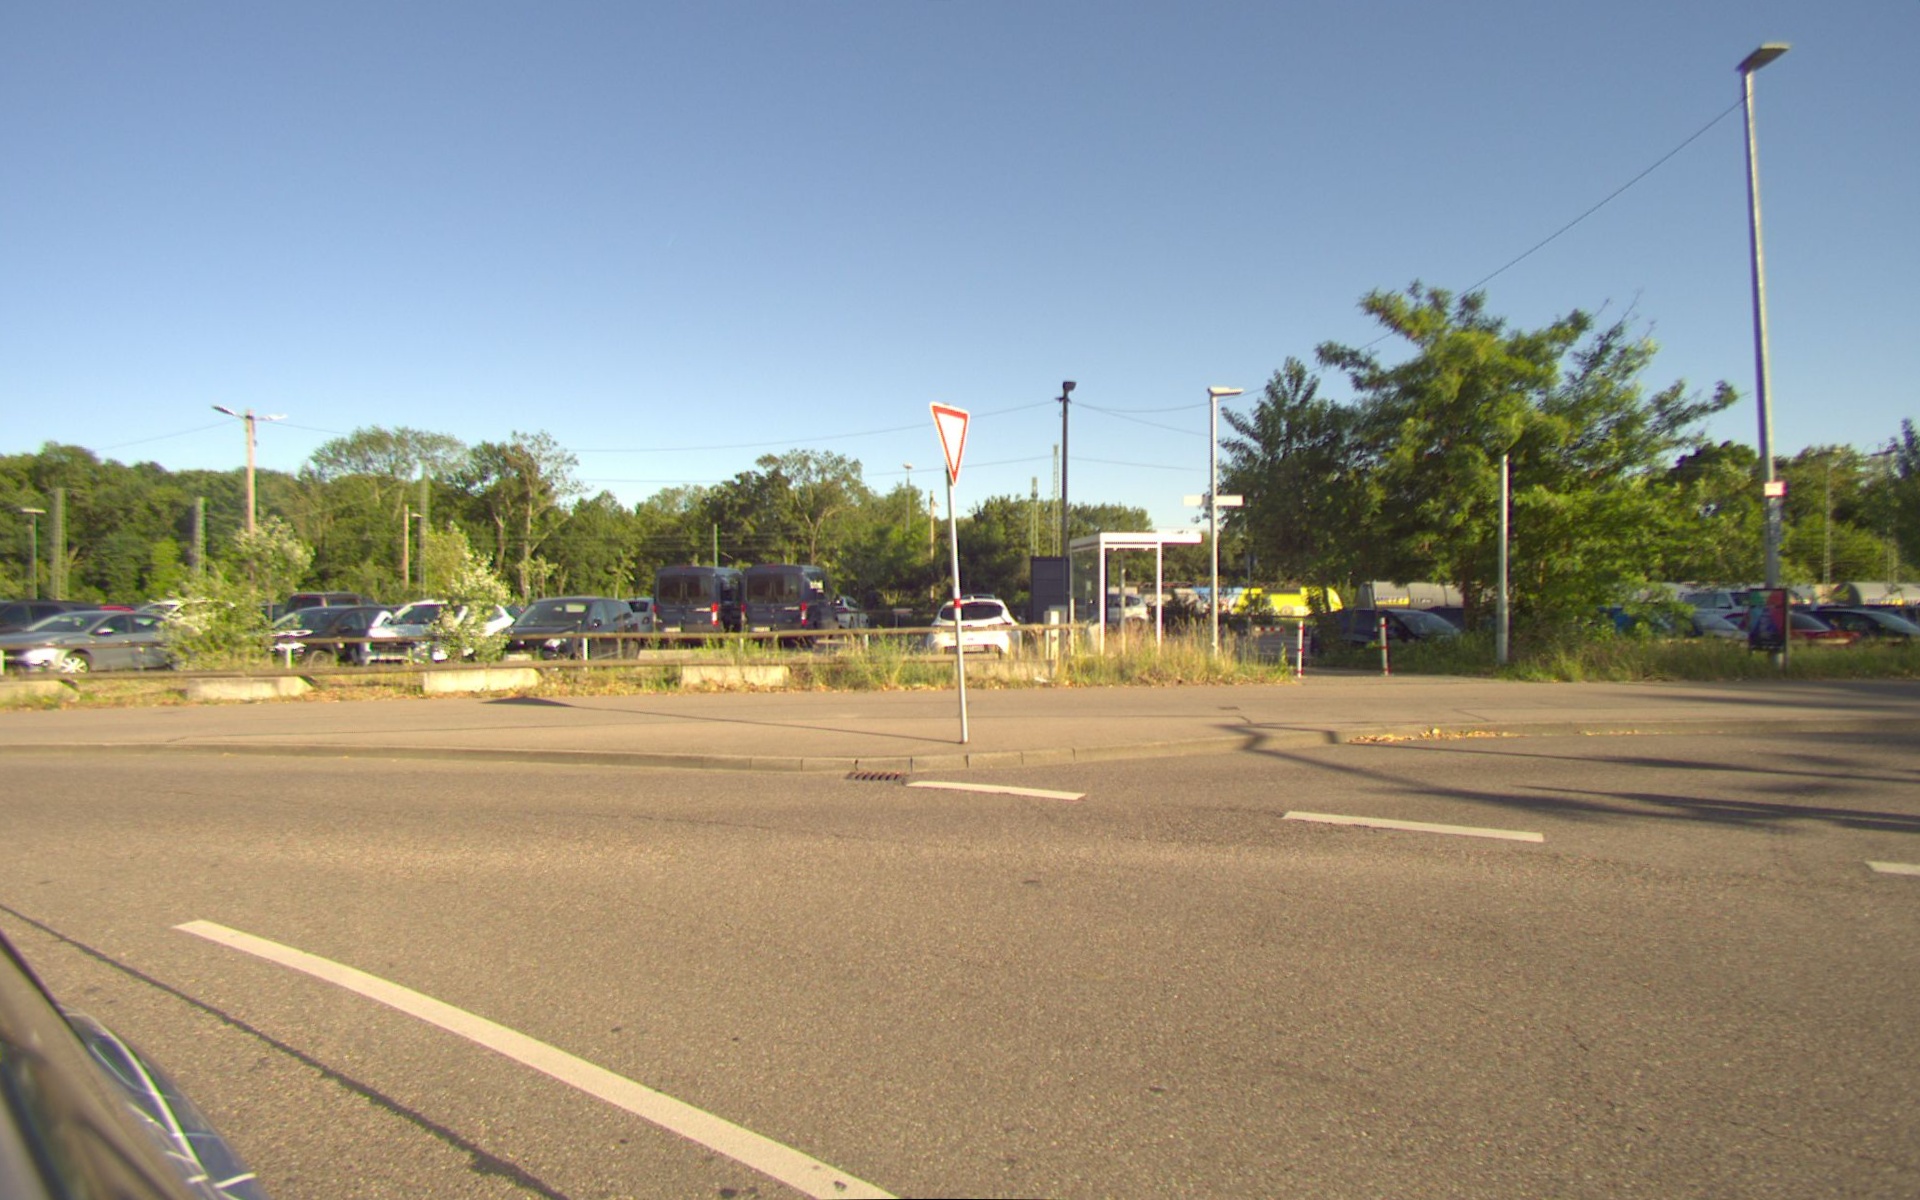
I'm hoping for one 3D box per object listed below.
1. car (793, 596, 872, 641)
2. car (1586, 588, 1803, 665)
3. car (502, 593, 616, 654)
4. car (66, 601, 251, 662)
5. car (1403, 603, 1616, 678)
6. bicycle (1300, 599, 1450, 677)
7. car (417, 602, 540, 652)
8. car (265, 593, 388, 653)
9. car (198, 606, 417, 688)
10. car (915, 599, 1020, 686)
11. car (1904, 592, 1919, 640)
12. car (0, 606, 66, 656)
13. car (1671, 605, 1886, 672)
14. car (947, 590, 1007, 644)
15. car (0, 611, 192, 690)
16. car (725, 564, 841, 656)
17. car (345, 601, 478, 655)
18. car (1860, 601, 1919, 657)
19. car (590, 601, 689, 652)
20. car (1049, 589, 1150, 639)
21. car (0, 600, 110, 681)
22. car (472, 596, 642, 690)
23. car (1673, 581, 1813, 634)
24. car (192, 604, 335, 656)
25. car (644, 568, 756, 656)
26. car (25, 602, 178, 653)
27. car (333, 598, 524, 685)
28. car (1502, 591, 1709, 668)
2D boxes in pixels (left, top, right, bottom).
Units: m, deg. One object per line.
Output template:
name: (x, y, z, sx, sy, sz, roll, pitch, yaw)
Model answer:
car: (-4.632, 0.633, 37.327, 1.962, 1.510, 4.195, -1, 0, 6)
car: (17.870, 0.580, 24.868, 1.809, 1.695, 4.012, -1, 0, -17)
car: (-12.788, 0.689, 32.543, 1.805, 1.592, 3.996, -1, 3, 5)
car: (-26.247, 0.971, 33.405, 2.015, 1.707, 4.692, -1, 2, 7)
car: (12.315, 0.839, 22.993, 1.931, 1.492, 4.012, -1, 0, -17)
bicycle: (9.223, 0.813, 22.596, 2.954, 1.628, 0.894, -1, 1, 41)
car: (-15.422, 0.834, 32.652, 1.739, 1.442, 3.992, -1, 0, 6)
car: (-20.770, 0.702, 33.359, 1.746, 1.746, 3.781, -1, 2, -2)
car: (-13.604, 0.921, 21.414, 1.833, 1.527, 3.993, -1, 0, 5)
car: (0.263, 0.787, 20.734, 1.867, 1.522, 4.268, -1, 0, 4)
car: (37.188, 0.613, 37.291, 1.722, 1.852, 4.021, -1, 0, 14)
car: (-33.187, 1.107, 34.269, 1.961, 1.601, 4.199, -1, 2, 3)
car: (20.421, 0.896, 25.489, 1.701, 1.470, 4.010, -1, 0, -12)
car: (0.676, 0.561, 36.903, 1.961, 1.822, 4.198, -1, 1, 4)
car: (-19.021, 1.023, 21.891, 1.813, 1.464, 3.924, -1, 0, 0)
car: (-5.339, 0.271, 31.442, 2.370, 2.536, 5.507, -1, 0, 3)
car: (-17.947, 0.870, 33.349, 1.975, 1.606, 3.994, -1, 0, 5)
car: (27.380, 0.814, 27.672, 1.973, 1.486, 3.998, -1, 0, 2)
car: (-10.463, 0.819, 33.288, 1.811, 1.519, 3.746, -1, 0, 5)
car: (5.175, 0.491, 38.236, 2.141, 1.743, 4.505, -1, 0, -16)
car: (-21.784, 0.907, 22.362, 2.042, 1.756, 4.532, -1, -2, 4)
car: (-8.204, 0.800, 21.028, 1.847, 1.667, 4.144, -1, 1, 0)
car: (29.616, 0.253, 38.522, 2.177, 1.852, 5.007, -1, 0, 12)
car: (-23.152, 0.951, 33.836, 1.867, 1.498, 3.938, -1, 1, 5)
car: (-7.961, 0.342, 31.499, 2.101, 2.486, 4.478, -1, 0, 3)
car: (-29.085, 0.892, 34.478, 1.703, 1.516, 3.997, 0, 1, 3)
car: (-10.939, 0.792, 21.209, 1.860, 1.623, 4.057, -1, 0, 0)
car: (15.546, 0.642, 24.613, 1.980, 1.678, 3.863, -1, 0, -17)
